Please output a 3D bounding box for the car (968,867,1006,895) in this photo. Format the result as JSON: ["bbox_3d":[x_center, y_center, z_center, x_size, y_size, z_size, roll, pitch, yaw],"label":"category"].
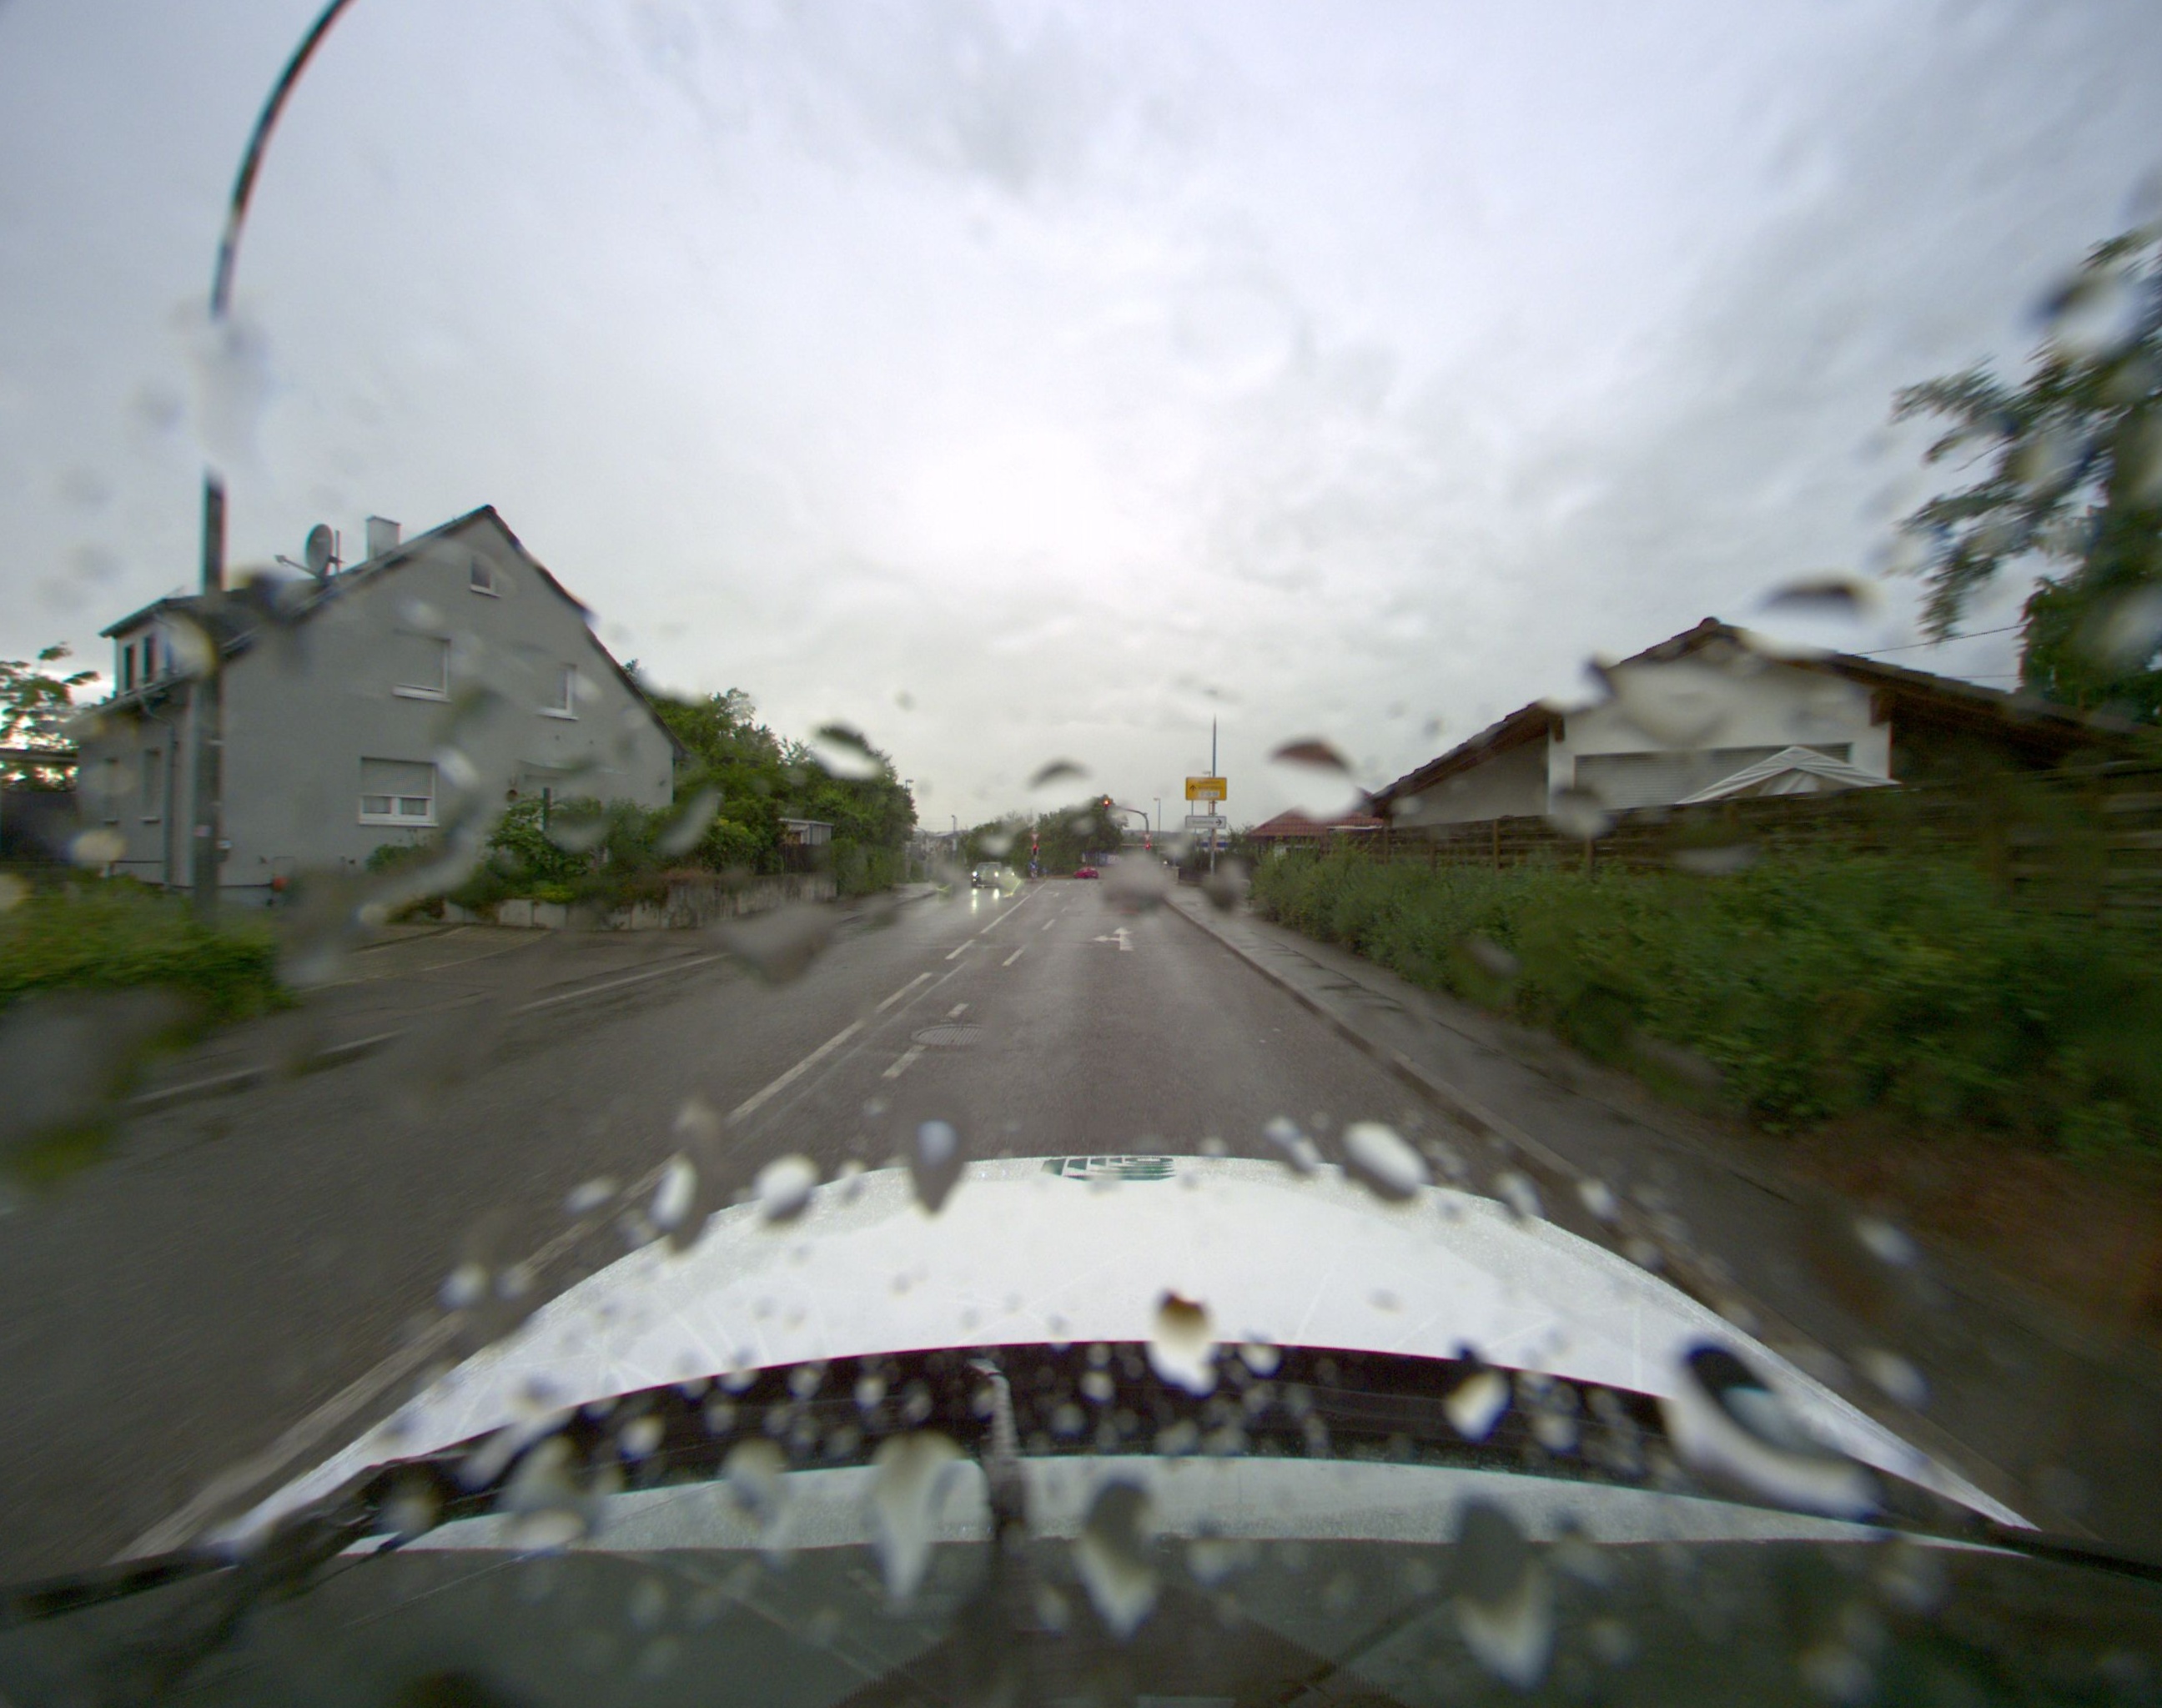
[{"bbox_3d":[-5.586,1.570,48.734,1.799,1.523,3.999,0,0,0],"label":"car"}]

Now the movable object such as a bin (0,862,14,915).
[{"bbox_3d":[-21.168,0.680,15.806,0.488,1.015,0.550,0,1,37],"label":"movable object such as a bin"}]

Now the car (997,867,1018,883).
[{"bbox_3d":[-9.936,2.846,110.146,1.998,2.013,3.977,-2,0,-16],"label":"car"}]

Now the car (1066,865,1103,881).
[{"bbox_3d":[0.441,2.373,100.789,2.314,1.690,4.706,-3,0,-34],"label":"car"}]

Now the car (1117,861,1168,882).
[{"bbox_3d":[6.886,1.978,91.387,5.432,2.013,2.006,-4,0,10],"label":"car"}]
